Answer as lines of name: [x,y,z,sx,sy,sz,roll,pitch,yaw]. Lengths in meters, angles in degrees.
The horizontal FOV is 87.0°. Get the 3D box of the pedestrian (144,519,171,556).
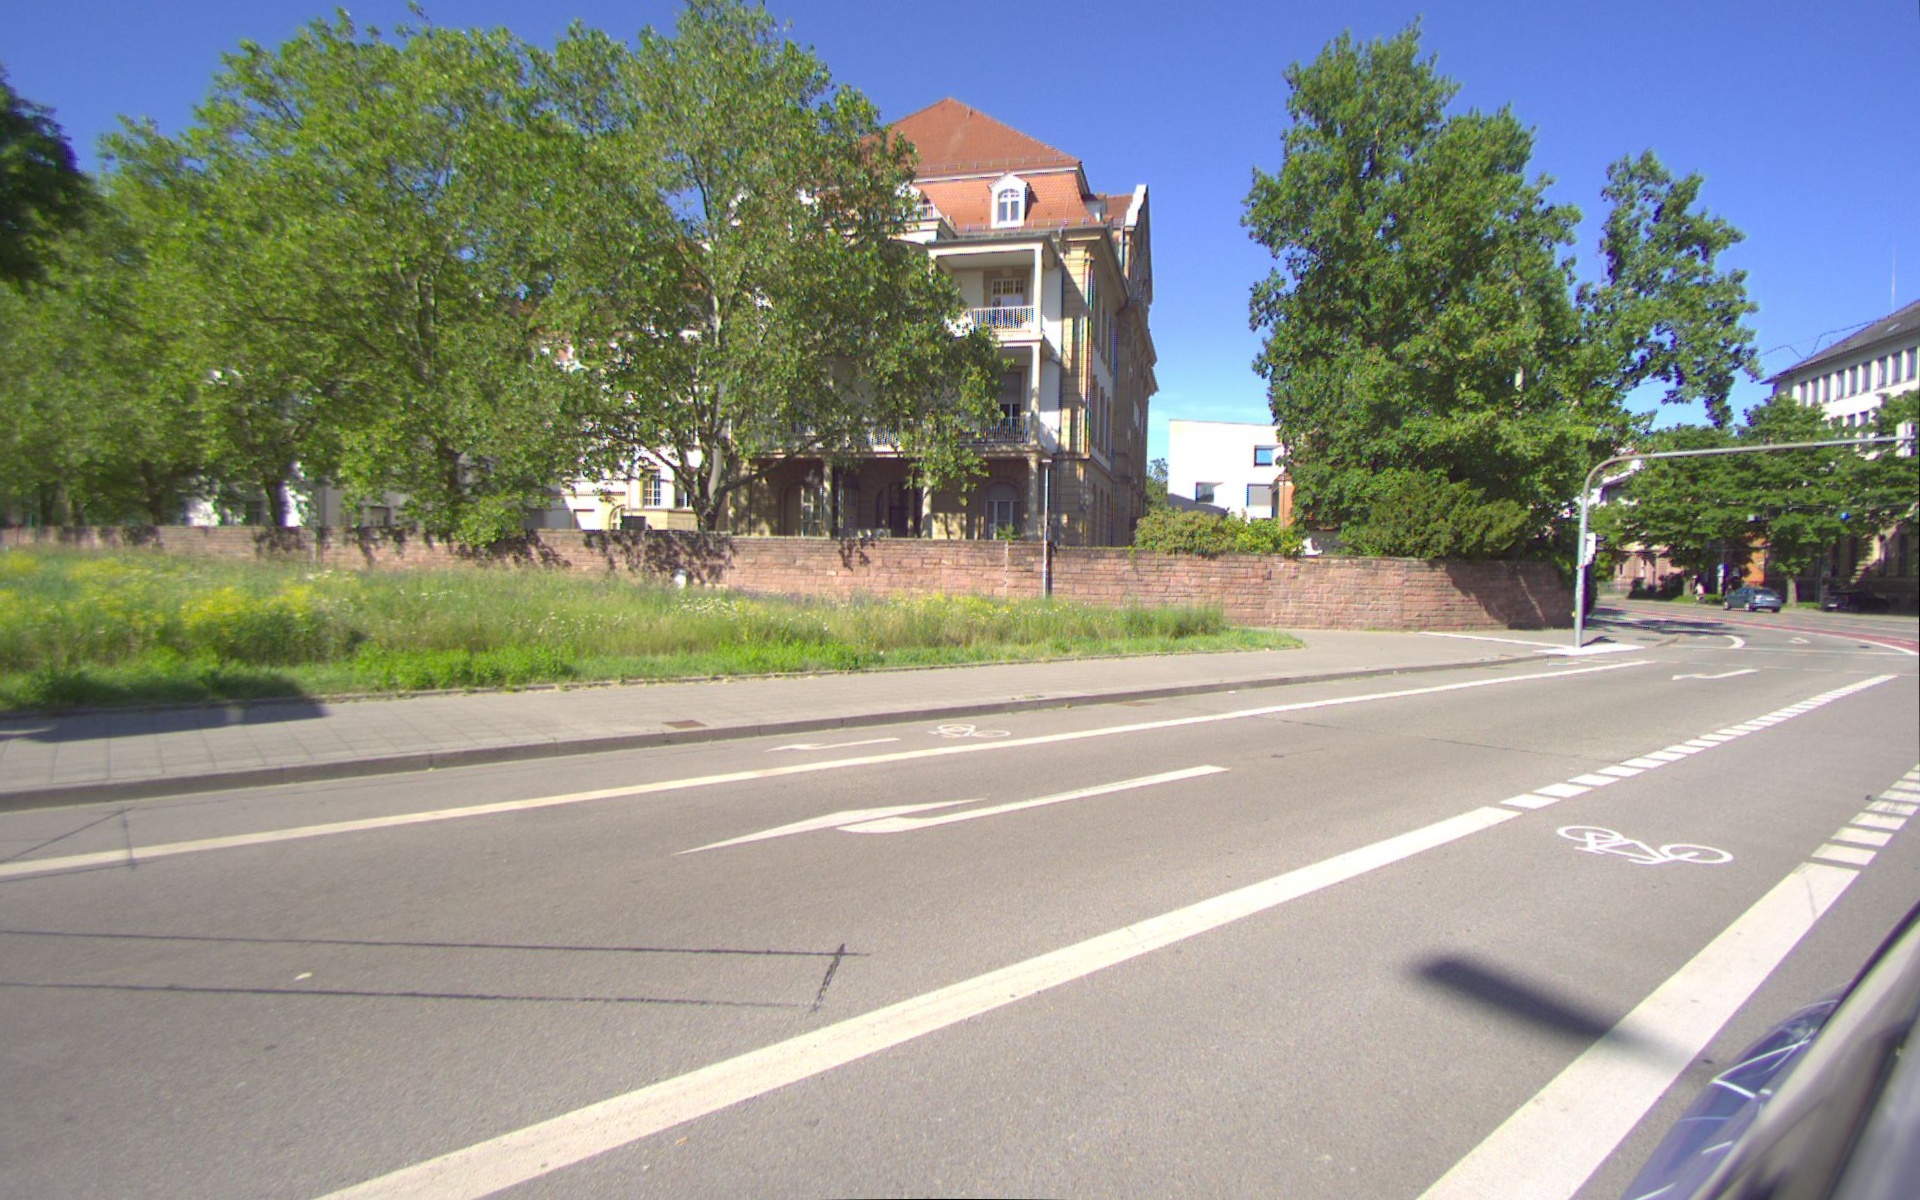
pedestrian: [-32.605,-2.535,41.127,0.516,1.461,0.721,0,0,20]

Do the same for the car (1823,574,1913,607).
car: [61.211,-0.647,68.254,4.615,2.038,2.004,1,2,-9]

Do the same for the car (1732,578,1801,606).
car: [52.348,-0.540,65.752,1.834,1.561,4.224,3,3,14]

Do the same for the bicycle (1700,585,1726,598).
bicycle: [58.931,-0.661,79.252,0.720,1.003,1.834,1,2,3]

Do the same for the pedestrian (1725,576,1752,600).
pedestrian: [60.754,-0.963,78.980,1.366,1.844,0.937,1,1,4]

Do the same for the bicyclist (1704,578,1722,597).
bicyclist: [58.937,-0.976,79.254,0.720,1.402,0.895,1,1,3]
